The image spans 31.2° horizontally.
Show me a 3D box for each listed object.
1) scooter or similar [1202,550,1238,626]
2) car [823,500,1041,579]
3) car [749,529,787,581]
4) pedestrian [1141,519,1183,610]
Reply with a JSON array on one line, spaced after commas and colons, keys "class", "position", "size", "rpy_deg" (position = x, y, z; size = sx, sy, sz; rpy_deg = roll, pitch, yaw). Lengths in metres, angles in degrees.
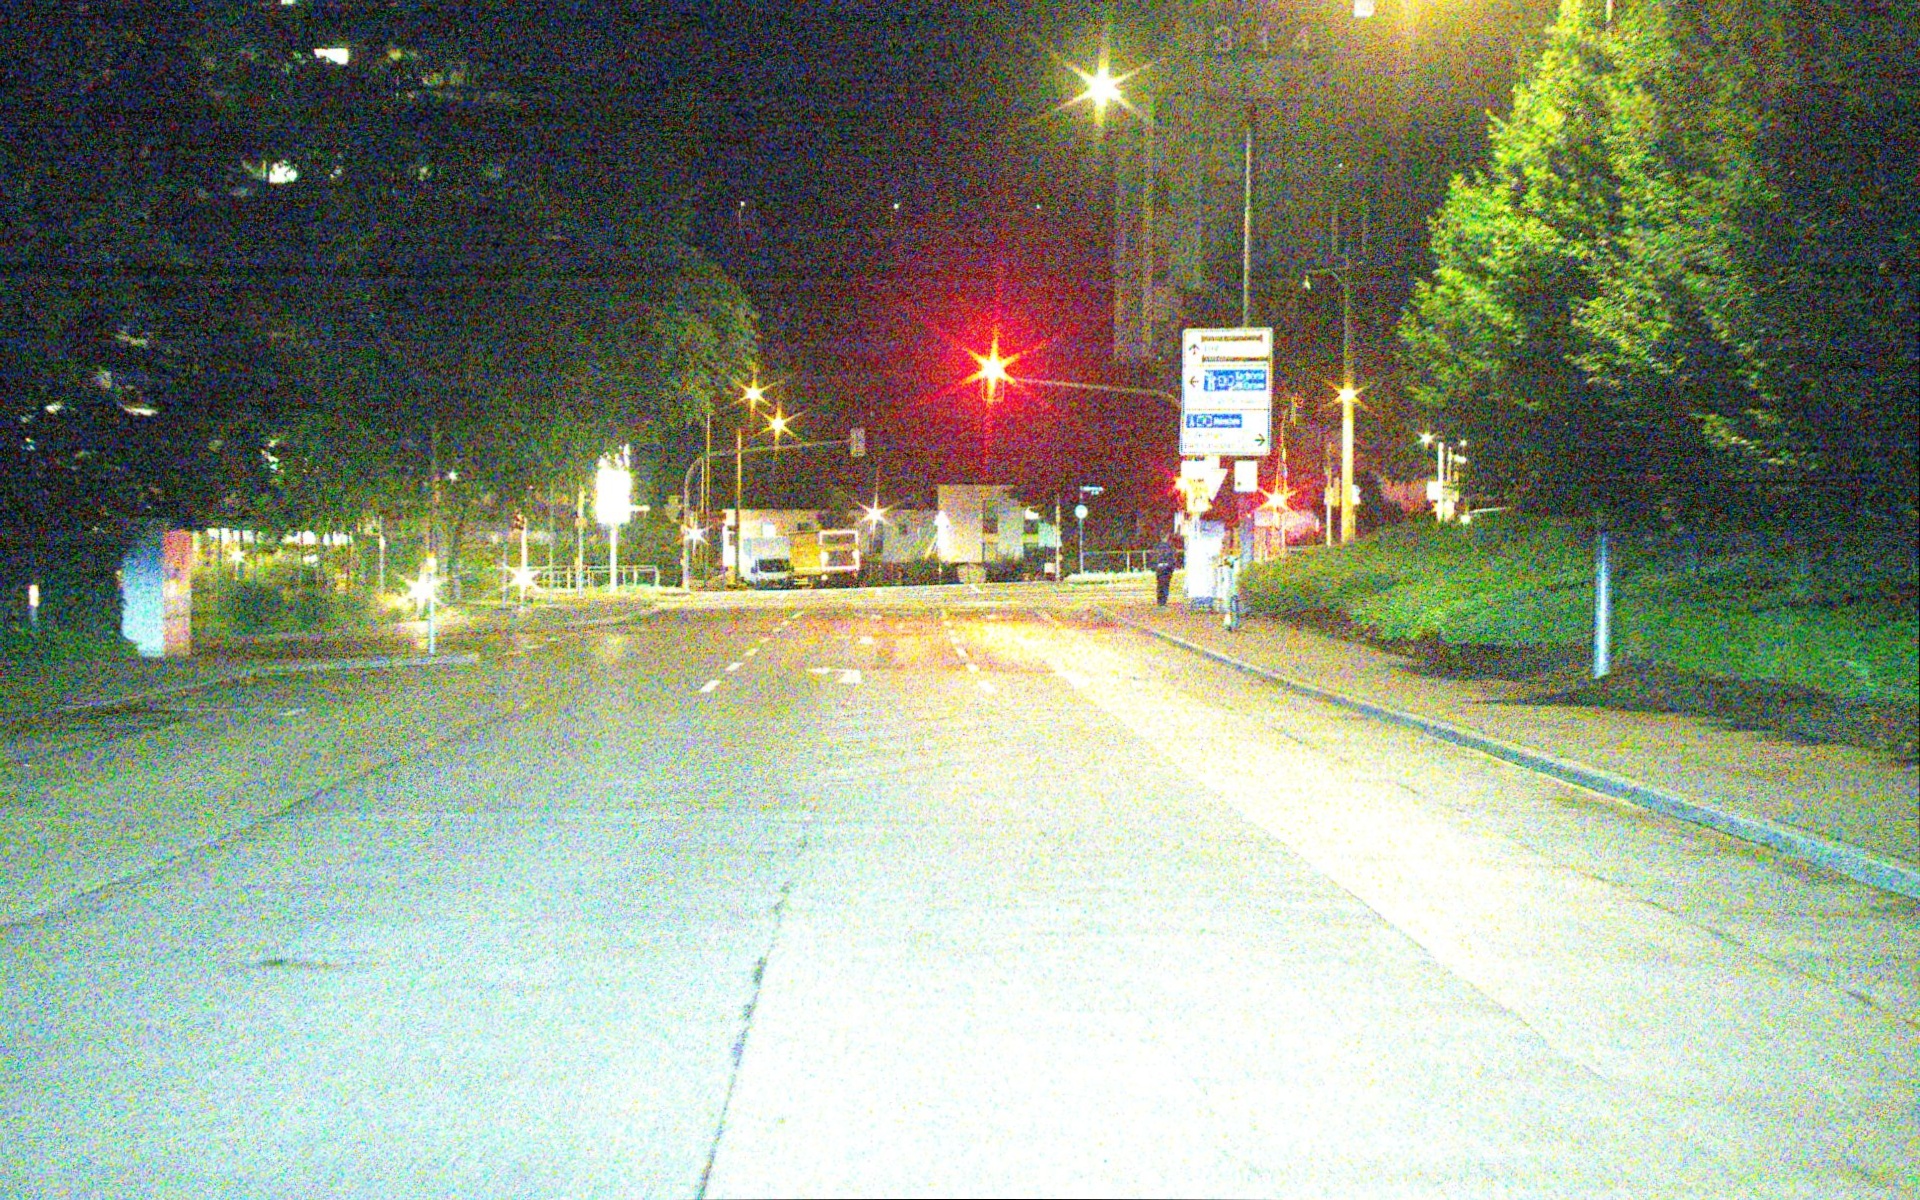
[{"class": "scooter or similar", "position": [4.402, -0.214, 58.288], "size": [0.494, 1.257, 1.320], "rpy_deg": [-2, 1, 1]}, {"class": "car", "position": [-1.723, -3.700, 208.350], "size": [12.380, 4.693, 4.811], "rpy_deg": [0, 1, -14]}, {"class": "car", "position": [-10.931, -2.565, 195.733], "size": [1.993, 2.963, 4.001], "rpy_deg": [0, 1, -6]}, {"class": "pedestrian", "position": [4.412, -0.785, 75.173], "size": [0.737, 1.975, 0.626], "rpy_deg": [0, 1, -17]}]
